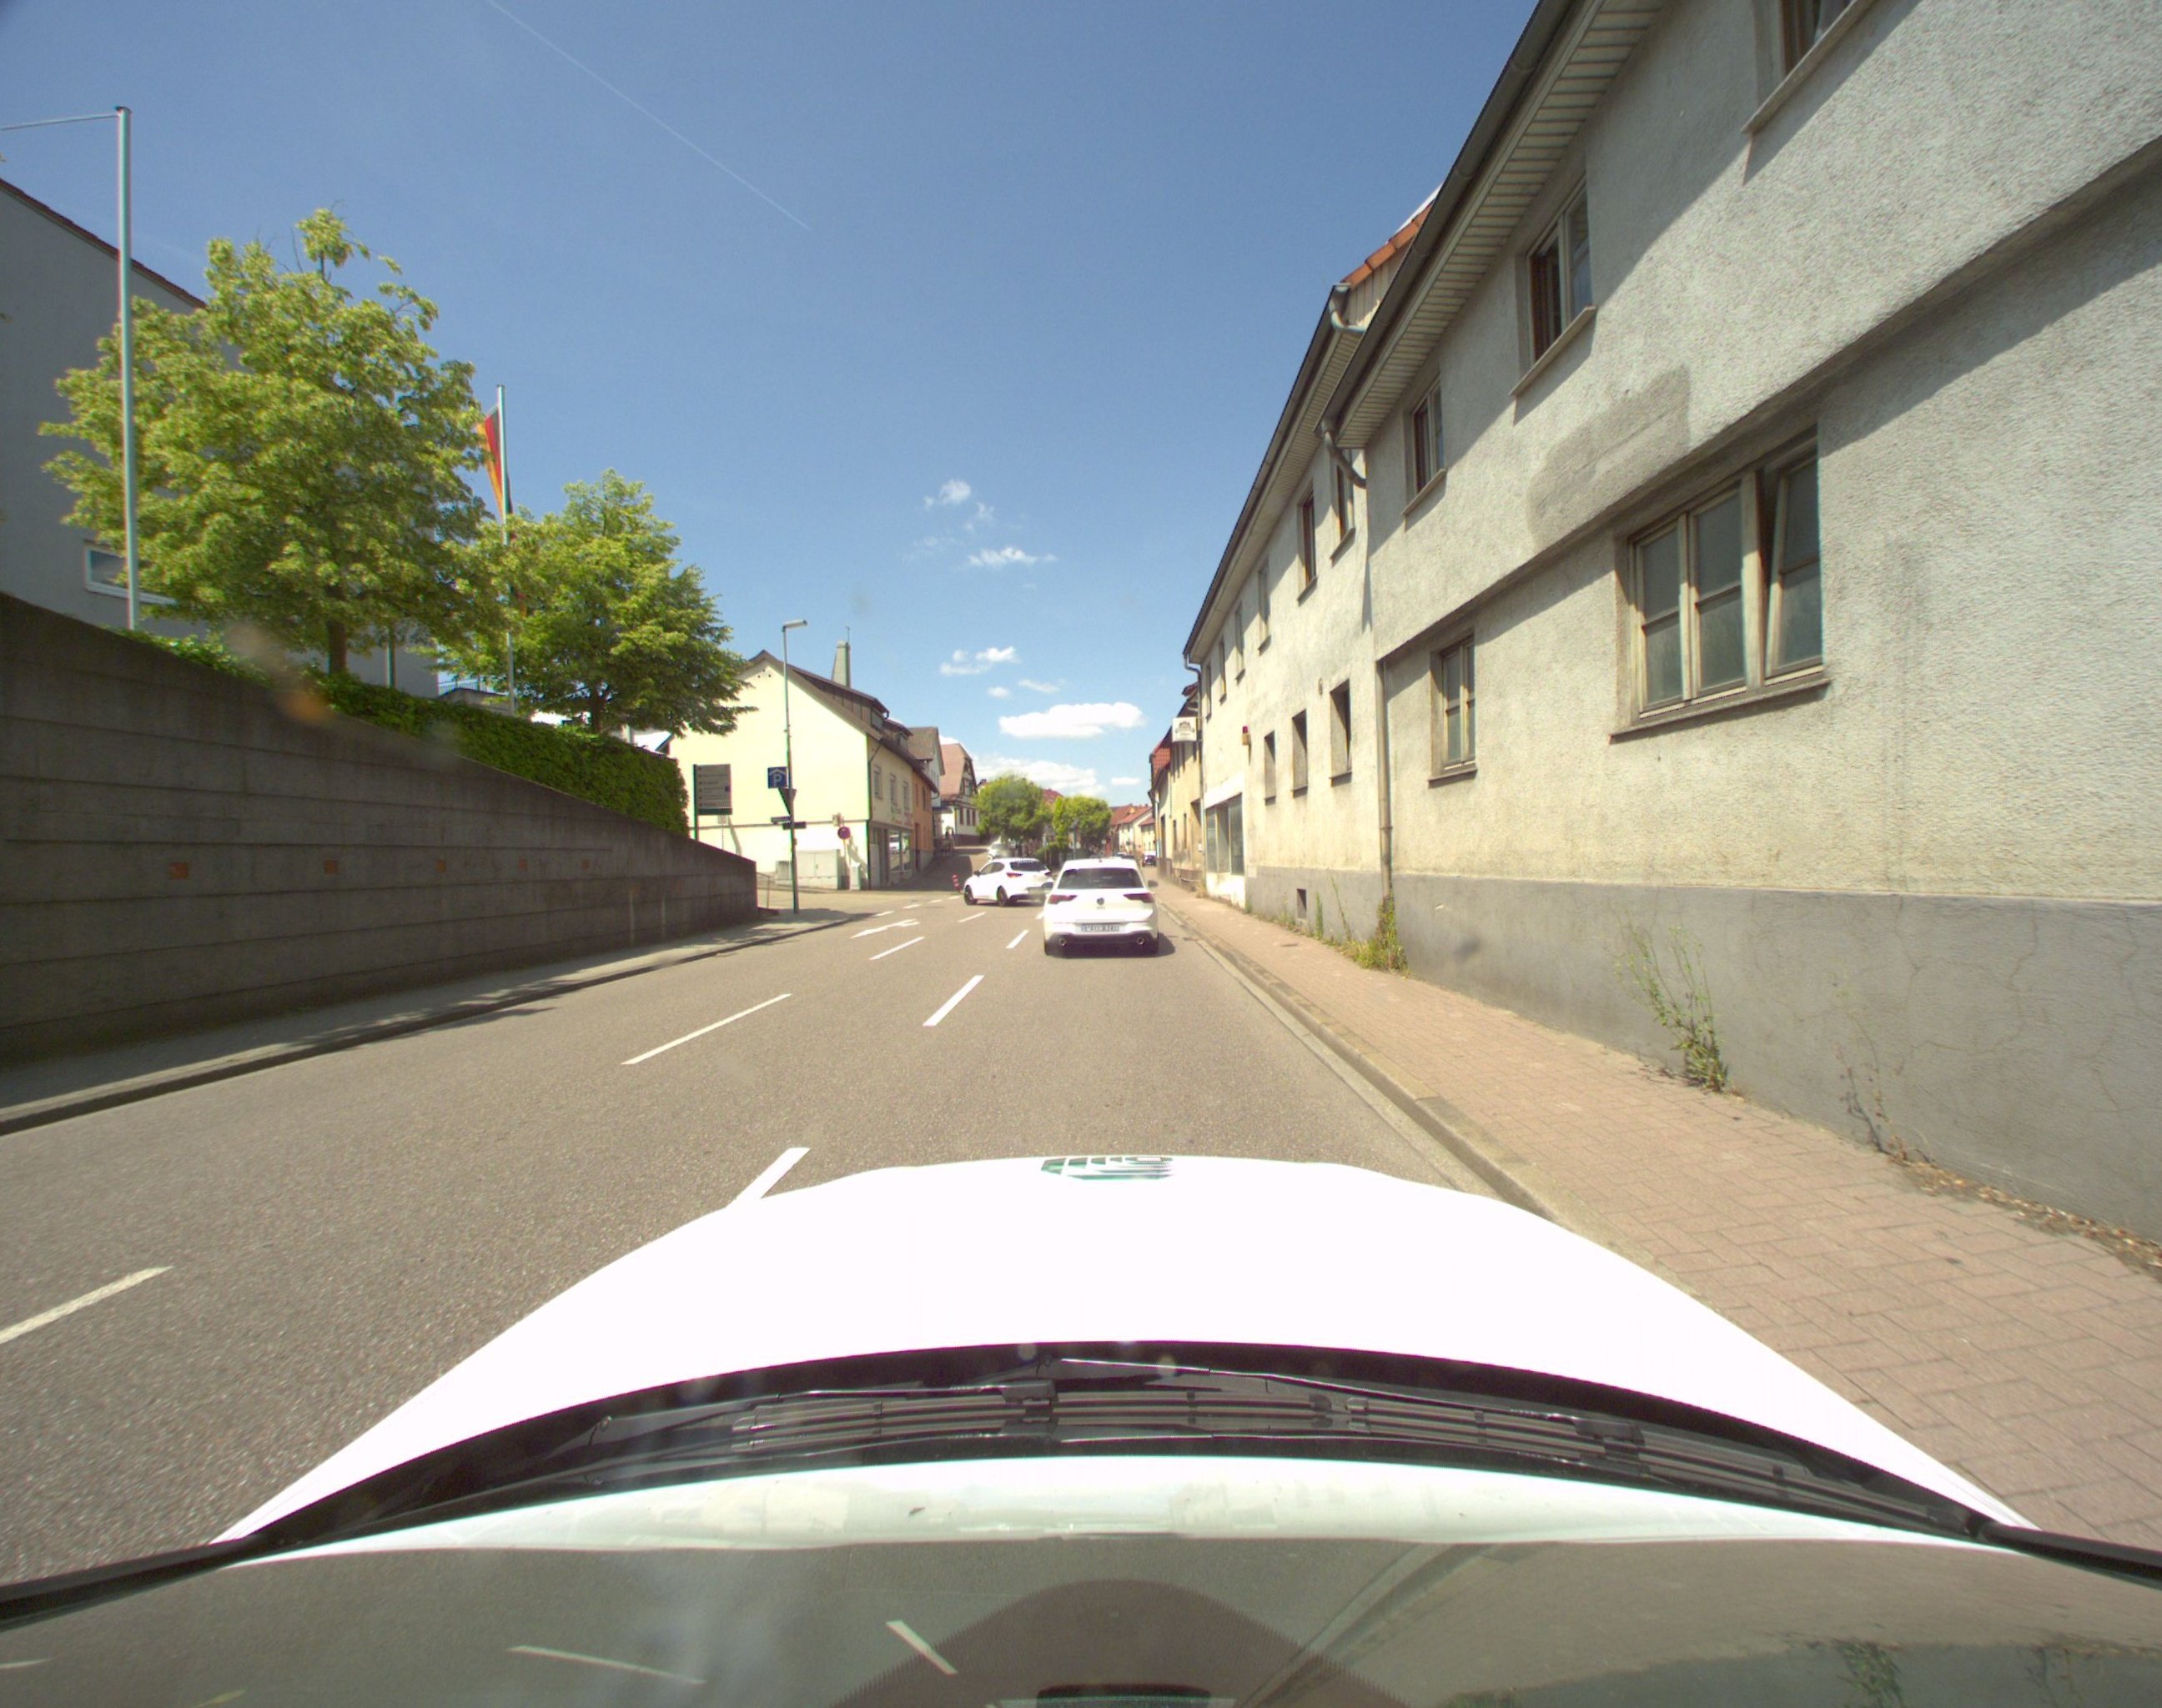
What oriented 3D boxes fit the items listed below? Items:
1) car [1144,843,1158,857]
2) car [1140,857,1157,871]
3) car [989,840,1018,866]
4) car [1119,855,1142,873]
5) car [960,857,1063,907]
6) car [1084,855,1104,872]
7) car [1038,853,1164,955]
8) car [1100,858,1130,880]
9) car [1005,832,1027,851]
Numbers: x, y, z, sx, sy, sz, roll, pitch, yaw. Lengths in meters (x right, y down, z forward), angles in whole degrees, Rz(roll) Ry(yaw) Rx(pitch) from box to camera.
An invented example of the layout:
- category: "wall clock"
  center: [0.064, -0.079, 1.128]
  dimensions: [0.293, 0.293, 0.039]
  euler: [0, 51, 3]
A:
- category: "car"
  center: [9.772, -0.551, 113.620]
  dimensions: [1.765, 1.765, 4.009]
  euler: [-2, 0, 8]
- category: "car"
  center: [8.116, 1.172, 97.748]
  dimensions: [1.766, 1.538, 4.008]
  euler: [-2, 0, 7]
- category: "car"
  center: [-5.818, -0.095, 61.380]
  dimensions: [1.687, 1.542, 3.859]
  euler: [-1, 5, 1]
- category: "car"
  center: [4.585, 0.873, 74.529]
  dimensions: [1.766, 1.538, 4.008]
  euler: [-2, 0, 7]
- category: "car"
  center: [-2.267, 0.829, 25.716]
  dimensions: [1.818, 1.467, 3.963]
  euler: [0, -1, -28]
- category: "car"
  center: [1.343, 0.932, 82.913]
  dimensions: [1.750, 1.635, 4.054]
  euler: [-2, 0, 4]
- category: "car"
  center: [0.405, 0.737, 13.707]
  dimensions: [1.800, 1.467, 4.003]
  euler: [0, -1, 3]
- category: "car"
  center: [2.384, 1.020, 56.043]
  dimensions: [1.798, 1.467, 4.007]
  euler: [0, -1, 7]
- category: "car"
  center: [-5.840, -1.118, 73.578]
  dimensions: [1.571, 1.361, 3.859]
  euler: [-1, 5, 1]
